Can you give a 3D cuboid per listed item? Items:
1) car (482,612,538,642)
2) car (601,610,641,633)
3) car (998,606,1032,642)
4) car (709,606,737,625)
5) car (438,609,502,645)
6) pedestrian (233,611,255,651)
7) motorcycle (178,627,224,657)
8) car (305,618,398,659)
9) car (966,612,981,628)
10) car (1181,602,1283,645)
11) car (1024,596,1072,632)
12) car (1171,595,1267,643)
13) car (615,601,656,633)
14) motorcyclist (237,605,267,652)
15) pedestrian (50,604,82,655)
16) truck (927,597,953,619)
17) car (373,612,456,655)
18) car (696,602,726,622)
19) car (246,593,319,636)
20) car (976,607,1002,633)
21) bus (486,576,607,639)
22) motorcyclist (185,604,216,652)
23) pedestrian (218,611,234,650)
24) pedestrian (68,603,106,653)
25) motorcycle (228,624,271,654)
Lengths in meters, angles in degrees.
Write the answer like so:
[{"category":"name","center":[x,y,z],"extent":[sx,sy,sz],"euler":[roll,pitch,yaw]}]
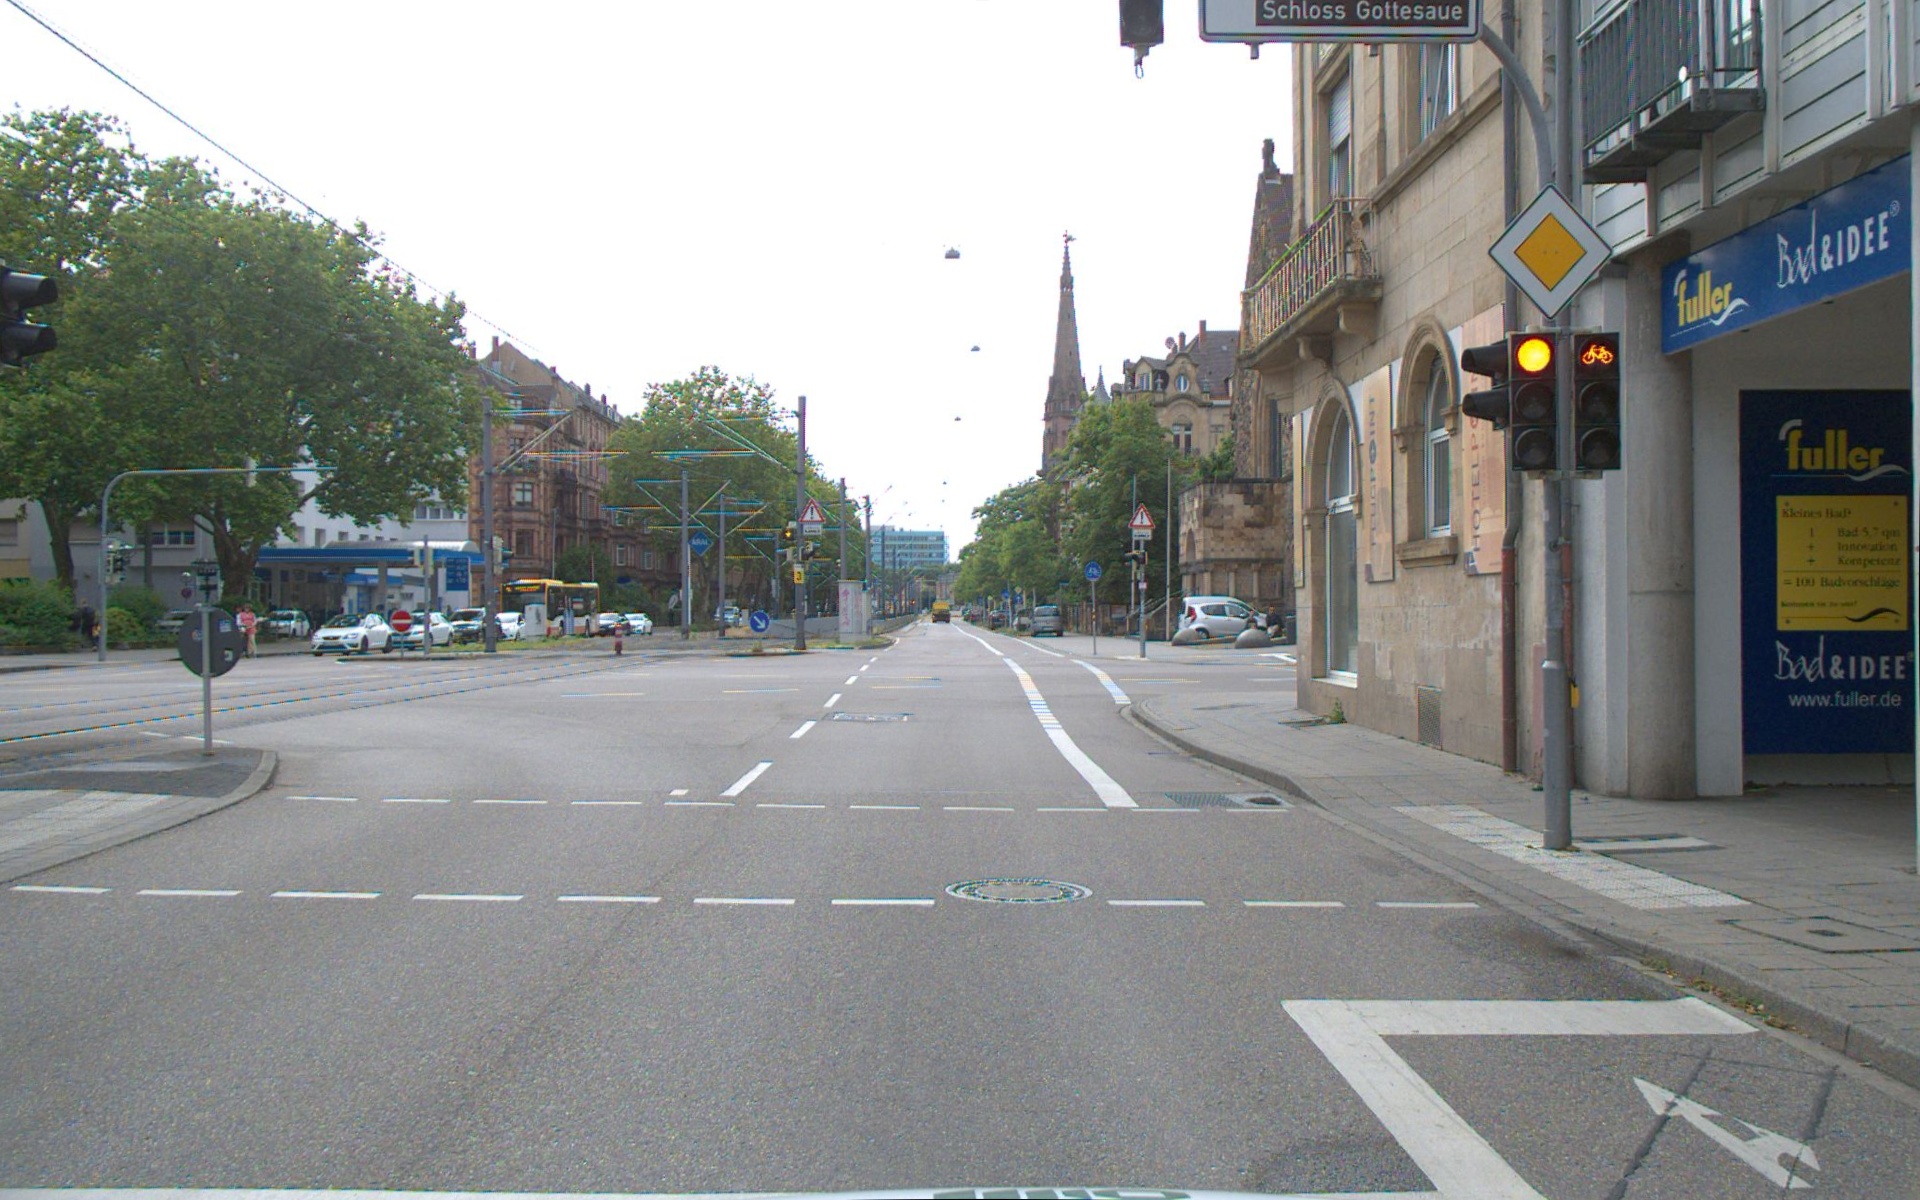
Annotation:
[{"category":"car","center":[-21.381,1.284,78.690],"extent":[1.622,1.344,3.638],"euler":[1,0,1]},{"category":"car","center":[-20.859,1.305,101.844],"extent":[1.622,1.344,3.638],"euler":[1,0,1]},{"category":"car","center":[3.286,1.420,99.646],"extent":[1.952,2.049,4.000],"euler":[1,0,1]},{"category":"car","center":[-21.341,1.381,148.982],"extent":[1.953,1.639,3.999],"euler":[1,0,-1]},{"category":"car","center":[-21.225,1.139,71.772],"extent":[1.622,1.504,3.638],"euler":[1,0,1]},{"category":"pedestrian","center":[-27.704,1.199,64.007],"extent":[0.634,1.505,0.557],"euler":[0,0,-1]},{"category":"motorcycle","center":[-24.767,1.370,53.995],"extent":[0.594,0.945,1.951],"euler":[0,0,0]},{"category":"car","center":[-21.490,1.330,58.564],"extent":[1.711,1.344,4.075],"euler":[1,0,1]},{"category":"car","center":[1.765,2.660,216.814],"extent":[1.953,2.049,3.999],"euler":[1,0,-1]},{"category":"car","center":[10.673,0.926,65.082],"extent":[3.638,1.591,2.000],"euler":[1,0,-1]},{"category":"car","center":[4.814,0.771,90.038],"extent":[1.951,1.888,4.030],"euler":[1,0,12]},{"category":"car","center":[10.689,0.795,68.547],"extent":[3.638,1.888,2.000],"euler":[1,0,-1]},{"category":"car","center":[-21.413,1.133,109.249],"extent":[1.953,2.049,3.999],"euler":[1,0,-1]},{"category":"motorcyclist","center":[-23.479,0.930,54.866],"extent":[0.607,1.546,0.873],"euler":[0,0,-1]},{"category":"pedestrian","center":[-30.868,1.002,57.106],"extent":[0.852,1.743,0.688],"euler":[0,-1,35]},{"category":"truck","center":[-2.595,0.990,216.890],"extent":[2.992,2.817,9.817],"euler":[0,0,1]},{"category":"car","center":[-21.425,1.287,65.119],"extent":[1.953,1.622,3.999],"euler":[1,0,-1]},{"category":"car","center":[-21.225,1.023,141.172],"extent":[1.953,1.639,3.999],"euler":[1,0,-1]},{"category":"car","center":[-32.884,0.690,80.383],"extent":[1.953,2.049,3.999],"euler":[0,0,-1]},{"category":"car","center":[2.375,1.627,135.992],"extent":[1.953,2.049,3.999],"euler":[1,0,-1]},{"category":"bus","center":[-21.968,0.417,88.745],"extent":[3.164,3.088,12.312],"euler":[1,0,1]},{"category":"motorcyclist","center":[-24.746,0.892,53.876],"extent":[0.607,1.546,0.873],"euler":[0,0,-1]},{"category":"pedestrian","center":[-28.407,1.171,64.013],"extent":[0.466,1.485,0.426],"euler":[0,0,-1]},{"category":"pedestrian","center":[-30.480,0.968,57.759],"extent":[0.856,1.743,0.873],"euler":[0,-1,34]},{"category":"motorcycle","center":[-23.487,1.269,54.722],"extent":[0.594,0.945,1.951],"euler":[0,0,0]}]
